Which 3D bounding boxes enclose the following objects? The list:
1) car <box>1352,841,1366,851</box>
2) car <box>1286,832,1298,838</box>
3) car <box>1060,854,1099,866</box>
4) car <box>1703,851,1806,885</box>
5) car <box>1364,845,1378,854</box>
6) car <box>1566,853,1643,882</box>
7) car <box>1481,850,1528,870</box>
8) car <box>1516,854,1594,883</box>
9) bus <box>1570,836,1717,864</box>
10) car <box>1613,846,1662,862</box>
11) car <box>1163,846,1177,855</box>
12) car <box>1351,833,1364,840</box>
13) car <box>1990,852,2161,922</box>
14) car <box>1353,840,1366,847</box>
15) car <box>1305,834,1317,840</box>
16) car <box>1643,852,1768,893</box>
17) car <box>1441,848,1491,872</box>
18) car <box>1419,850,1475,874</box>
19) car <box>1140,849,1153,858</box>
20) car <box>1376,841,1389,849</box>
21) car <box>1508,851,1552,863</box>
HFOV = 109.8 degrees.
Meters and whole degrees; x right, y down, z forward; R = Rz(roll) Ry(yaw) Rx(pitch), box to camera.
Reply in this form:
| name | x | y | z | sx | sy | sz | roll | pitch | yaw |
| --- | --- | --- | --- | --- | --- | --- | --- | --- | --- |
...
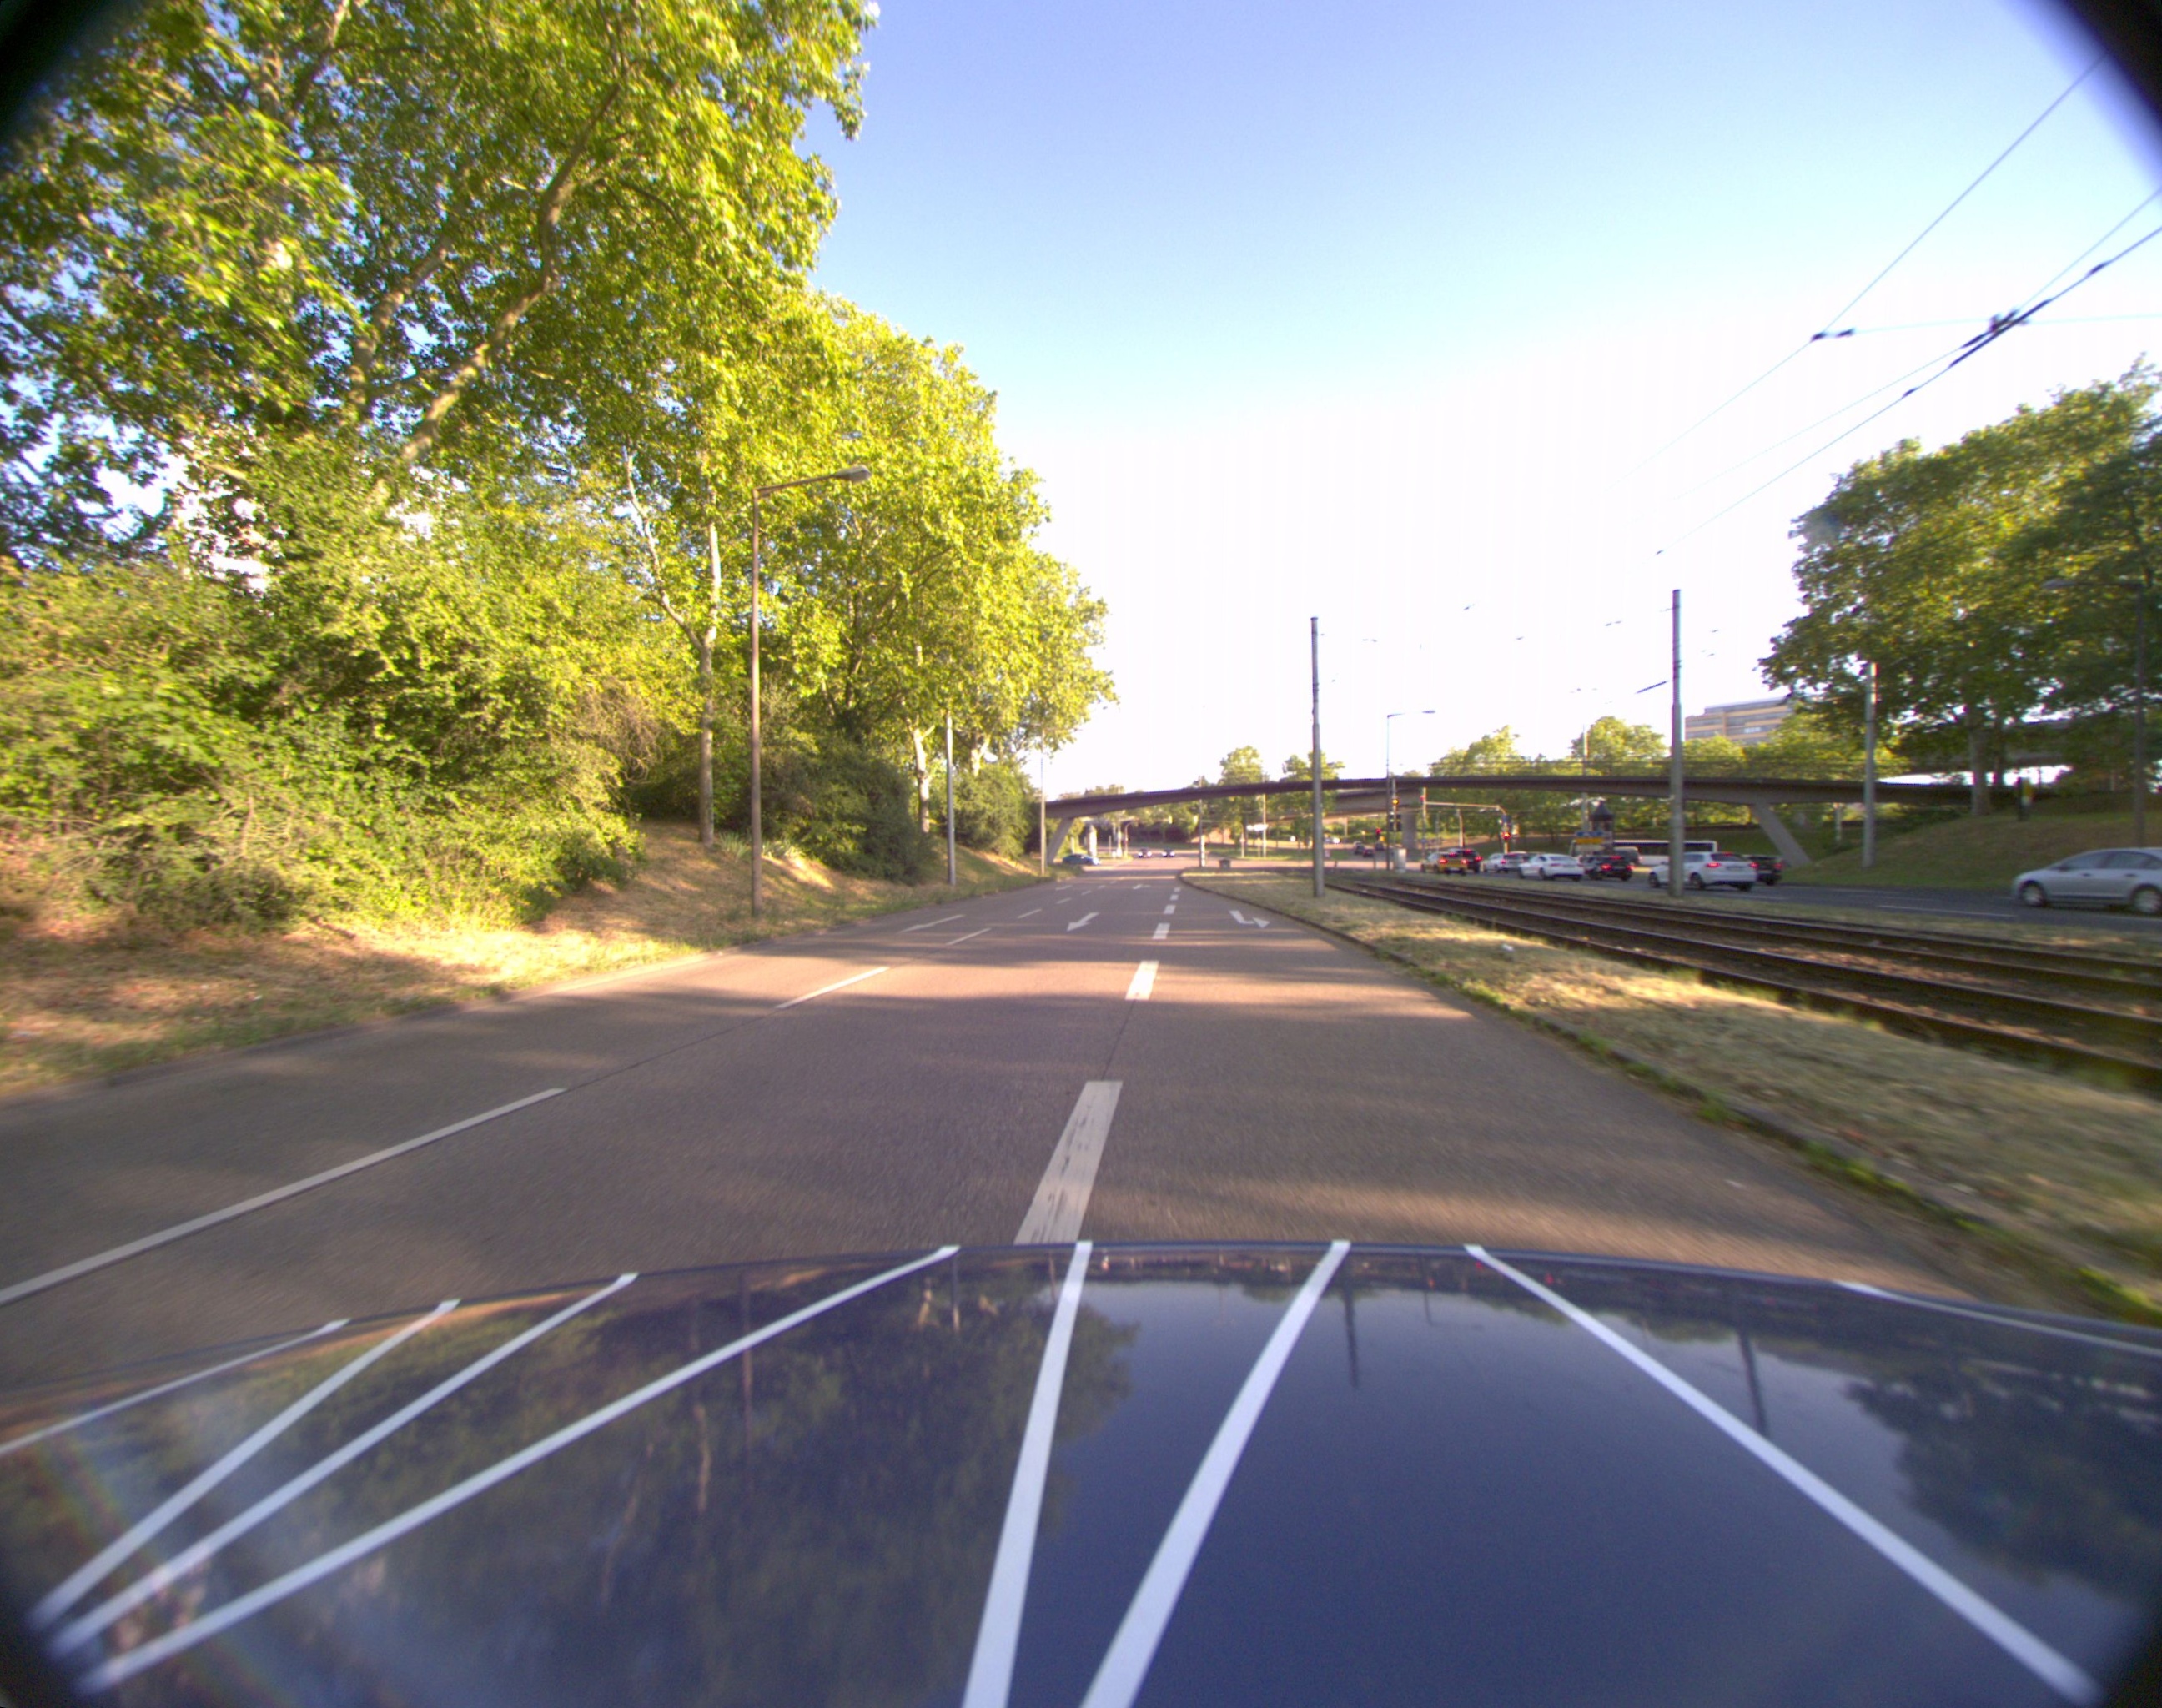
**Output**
| name | x | y | z | sx | sy | sz | roll | pitch | yaw |
| --- | --- | --- | --- | --- | --- | --- | --- | --- | --- |
| car | 47.862 | -1.395 | 130.690 | 1.793 | 1.641 | 4.361 | -1 | 1 | 14 |
| car | 58.817 | -5.269 | 211.829 | 1.856 | 1.856 | 4.142 | -1 | 1 | -7 |
| car | -0.205 | 0.696 | 86.929 | 4.086 | 1.346 | 1.718 | 0 | 2 | 17 |
| car | 32.793 | 0.633 | 37.179 | 1.841 | 1.473 | 4.604 | -2 | 0 | 14 |
| car | 44.736 | -0.656 | 117.241 | 1.688 | 1.302 | 4.314 | -1 | 1 | 16 |
| car | 29.674 | 0.727 | 43.243 | 1.841 | 1.473 | 4.439 | -2 | 0 | 9 |
| car | 32.080 | 0.435 | 57.624 | 1.689 | 1.407 | 4.440 | -1 | 1 | 9 |
| car | 25.154 | 0.715 | 40.541 | 1.842 | 1.407 | 4.602 | -1 | 0 | 8 |
| bus | 61.887 | -0.481 | 84.201 | 12.816 | 2.938 | 2.836 | 0 | 2 | 32 |
| car | 59.341 | 0.008 | 81.094 | 4.083 | 1.643 | 1.719 | 0 | 2 | 30 |
| car | 14.600 | -0.586 | 125.266 | 1.998 | 1.477 | 4.001 | -1 | 0 | 3 |
| car | 70.334 | -4.397 | 193.162 | 1.855 | 1.600 | 4.370 | 0 | 1 | 1 |
| car | 23.725 | 0.697 | 17.290 | 1.656 | 1.407 | 4.263 | -1 | 0 | 13 |
| car | 59.687 | -2.232 | 162.663 | 2.008 | 1.435 | 4.864 | -1 | 1 | 13 |
| car | 61.788 | -4.560 | 204.236 | 1.856 | 1.600 | 4.305 | -1 | 1 | -5 |
| car | 23.564 | 0.653 | 28.887 | 1.656 | 1.407 | 4.261 | -1 | 0 | 7 |
| car | 27.622 | 0.395 | 54.686 | 1.842 | 1.645 | 4.438 | -2 | 0 | 8 |
| car | 22.613 | 0.472 | 47.117 | 1.842 | 1.408 | 4.020 | -1 | 1 | 5 |
| car | 10.566 | -0.049 | 123.029 | 1.997 | 1.477 | 4.002 | -1 | 0 | 6 |
| car | 58.419 | -1.734 | 147.384 | 2.008 | 1.435 | 4.258 | -1 | 1 | 17 |
| car | 49.536 | 0.322 | 83.879 | 4.083 | 1.346 | 1.720 | 0 | 2 | 30 |
